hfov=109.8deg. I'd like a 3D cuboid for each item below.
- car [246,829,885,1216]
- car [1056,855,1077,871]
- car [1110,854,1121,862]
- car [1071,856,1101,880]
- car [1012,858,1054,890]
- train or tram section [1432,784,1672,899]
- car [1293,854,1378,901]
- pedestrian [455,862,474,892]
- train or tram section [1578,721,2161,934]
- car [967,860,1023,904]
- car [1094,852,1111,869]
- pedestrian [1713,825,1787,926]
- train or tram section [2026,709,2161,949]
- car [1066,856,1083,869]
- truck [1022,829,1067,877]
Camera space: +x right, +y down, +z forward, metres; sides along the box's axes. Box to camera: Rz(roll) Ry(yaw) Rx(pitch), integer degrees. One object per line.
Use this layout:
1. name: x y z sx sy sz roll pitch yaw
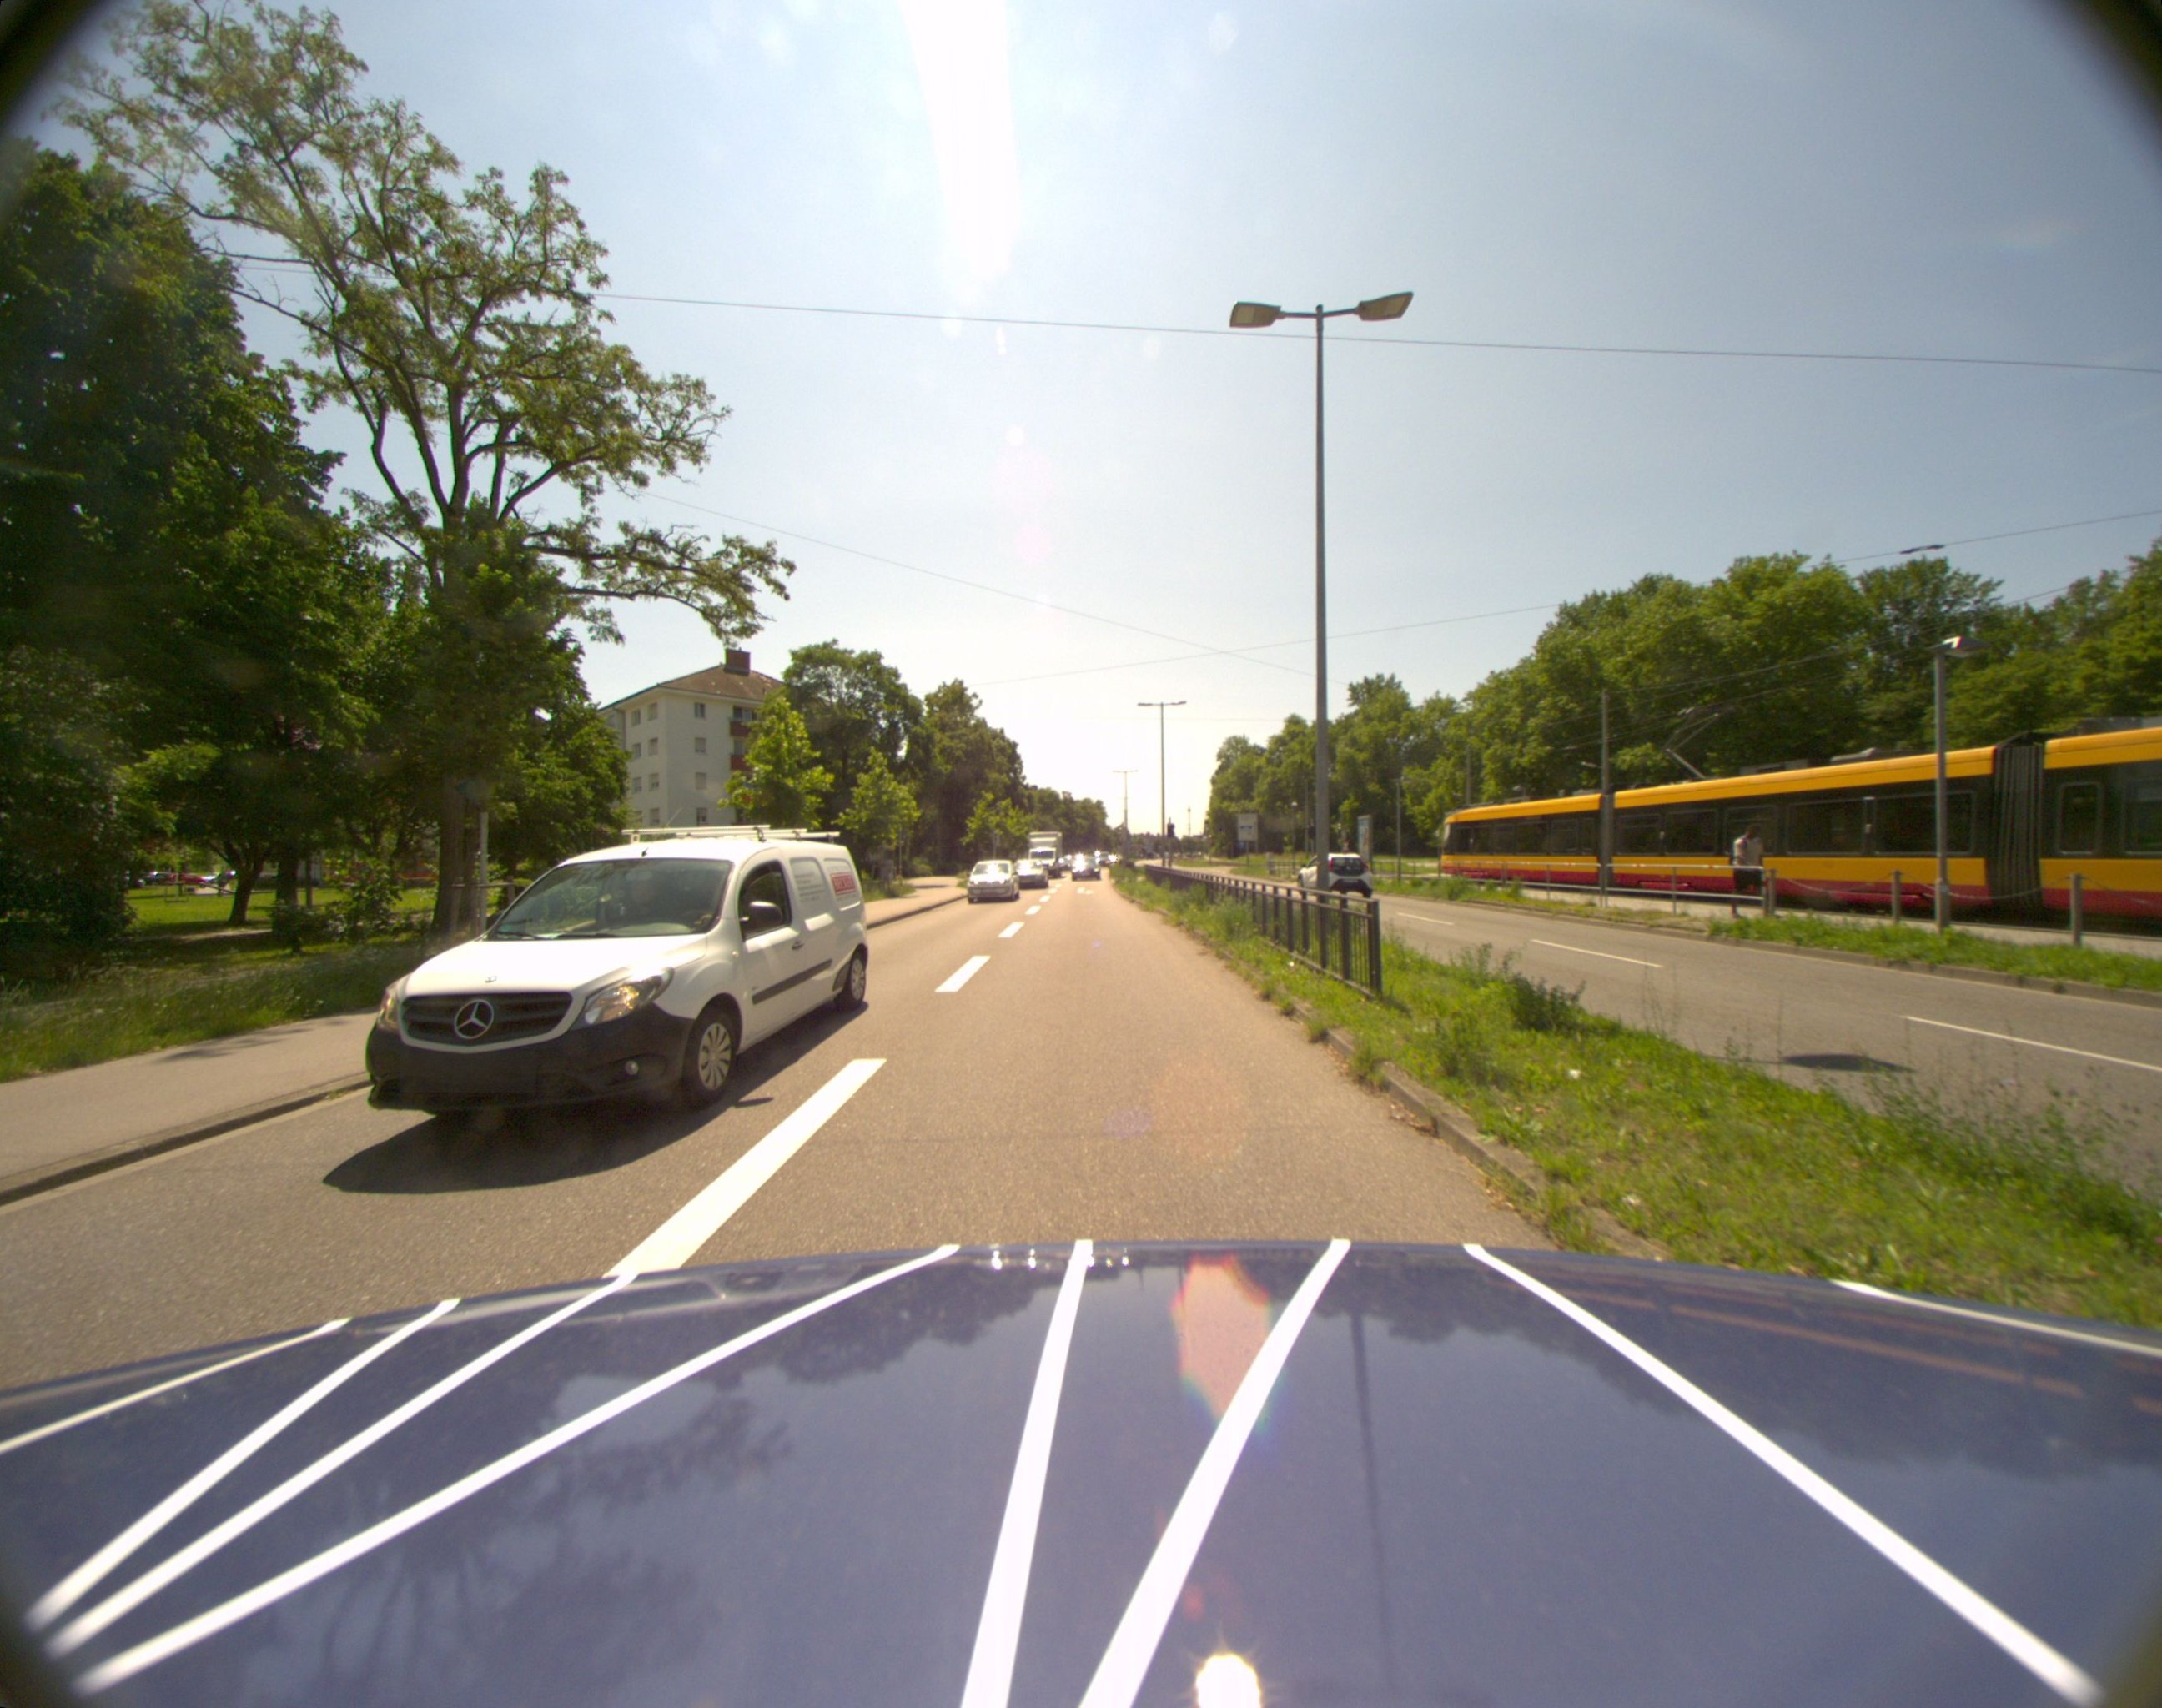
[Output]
1. car: -3.200 0.832 6.309 1.809 1.845 5.081 -2 0 -1
2. car: -1.373 0.806 72.176 1.746 1.382 3.887 -1 0 2
3. car: 6.277 0.689 137.631 1.745 1.382 3.889 -1 0 7
4. car: 0.346 0.857 47.731 1.746 1.382 3.887 -1 0 2
5. car: -2.314 0.950 37.736 1.618 1.373 4.115 -2 0 3
6. train or tram section: 18.876 -0.457 31.909 2.957 3.833 11.541 -2 0 1
7. car: 8.913 0.777 26.896 1.773 1.496 3.719 -1 0 0
8. pedestrian: -40.391 1.505 49.775 0.886 1.907 0.757 -2 1 45
9. train or tram section: 18.621 -0.500 19.873 3.051 3.719 12.595 -2 0 1
10. car: -3.125 0.976 28.222 1.626 1.433 3.498 -2 0 0
11. car: 2.422 0.688 85.509 1.746 1.840 3.887 -1 0 2
12. pedestrian: 12.363 0.386 14.063 0.633 1.781 0.776 -2 1 0
13. train or tram section: 18.300 -0.434 6.925 3.051 3.745 13.262 -2 0 2
14. car: -0.669 0.908 85.056 1.618 1.373 4.115 -2 0 3
15. truck: -2.586 -0.097 55.477 2.489 3.277 6.606 -1 0 3
